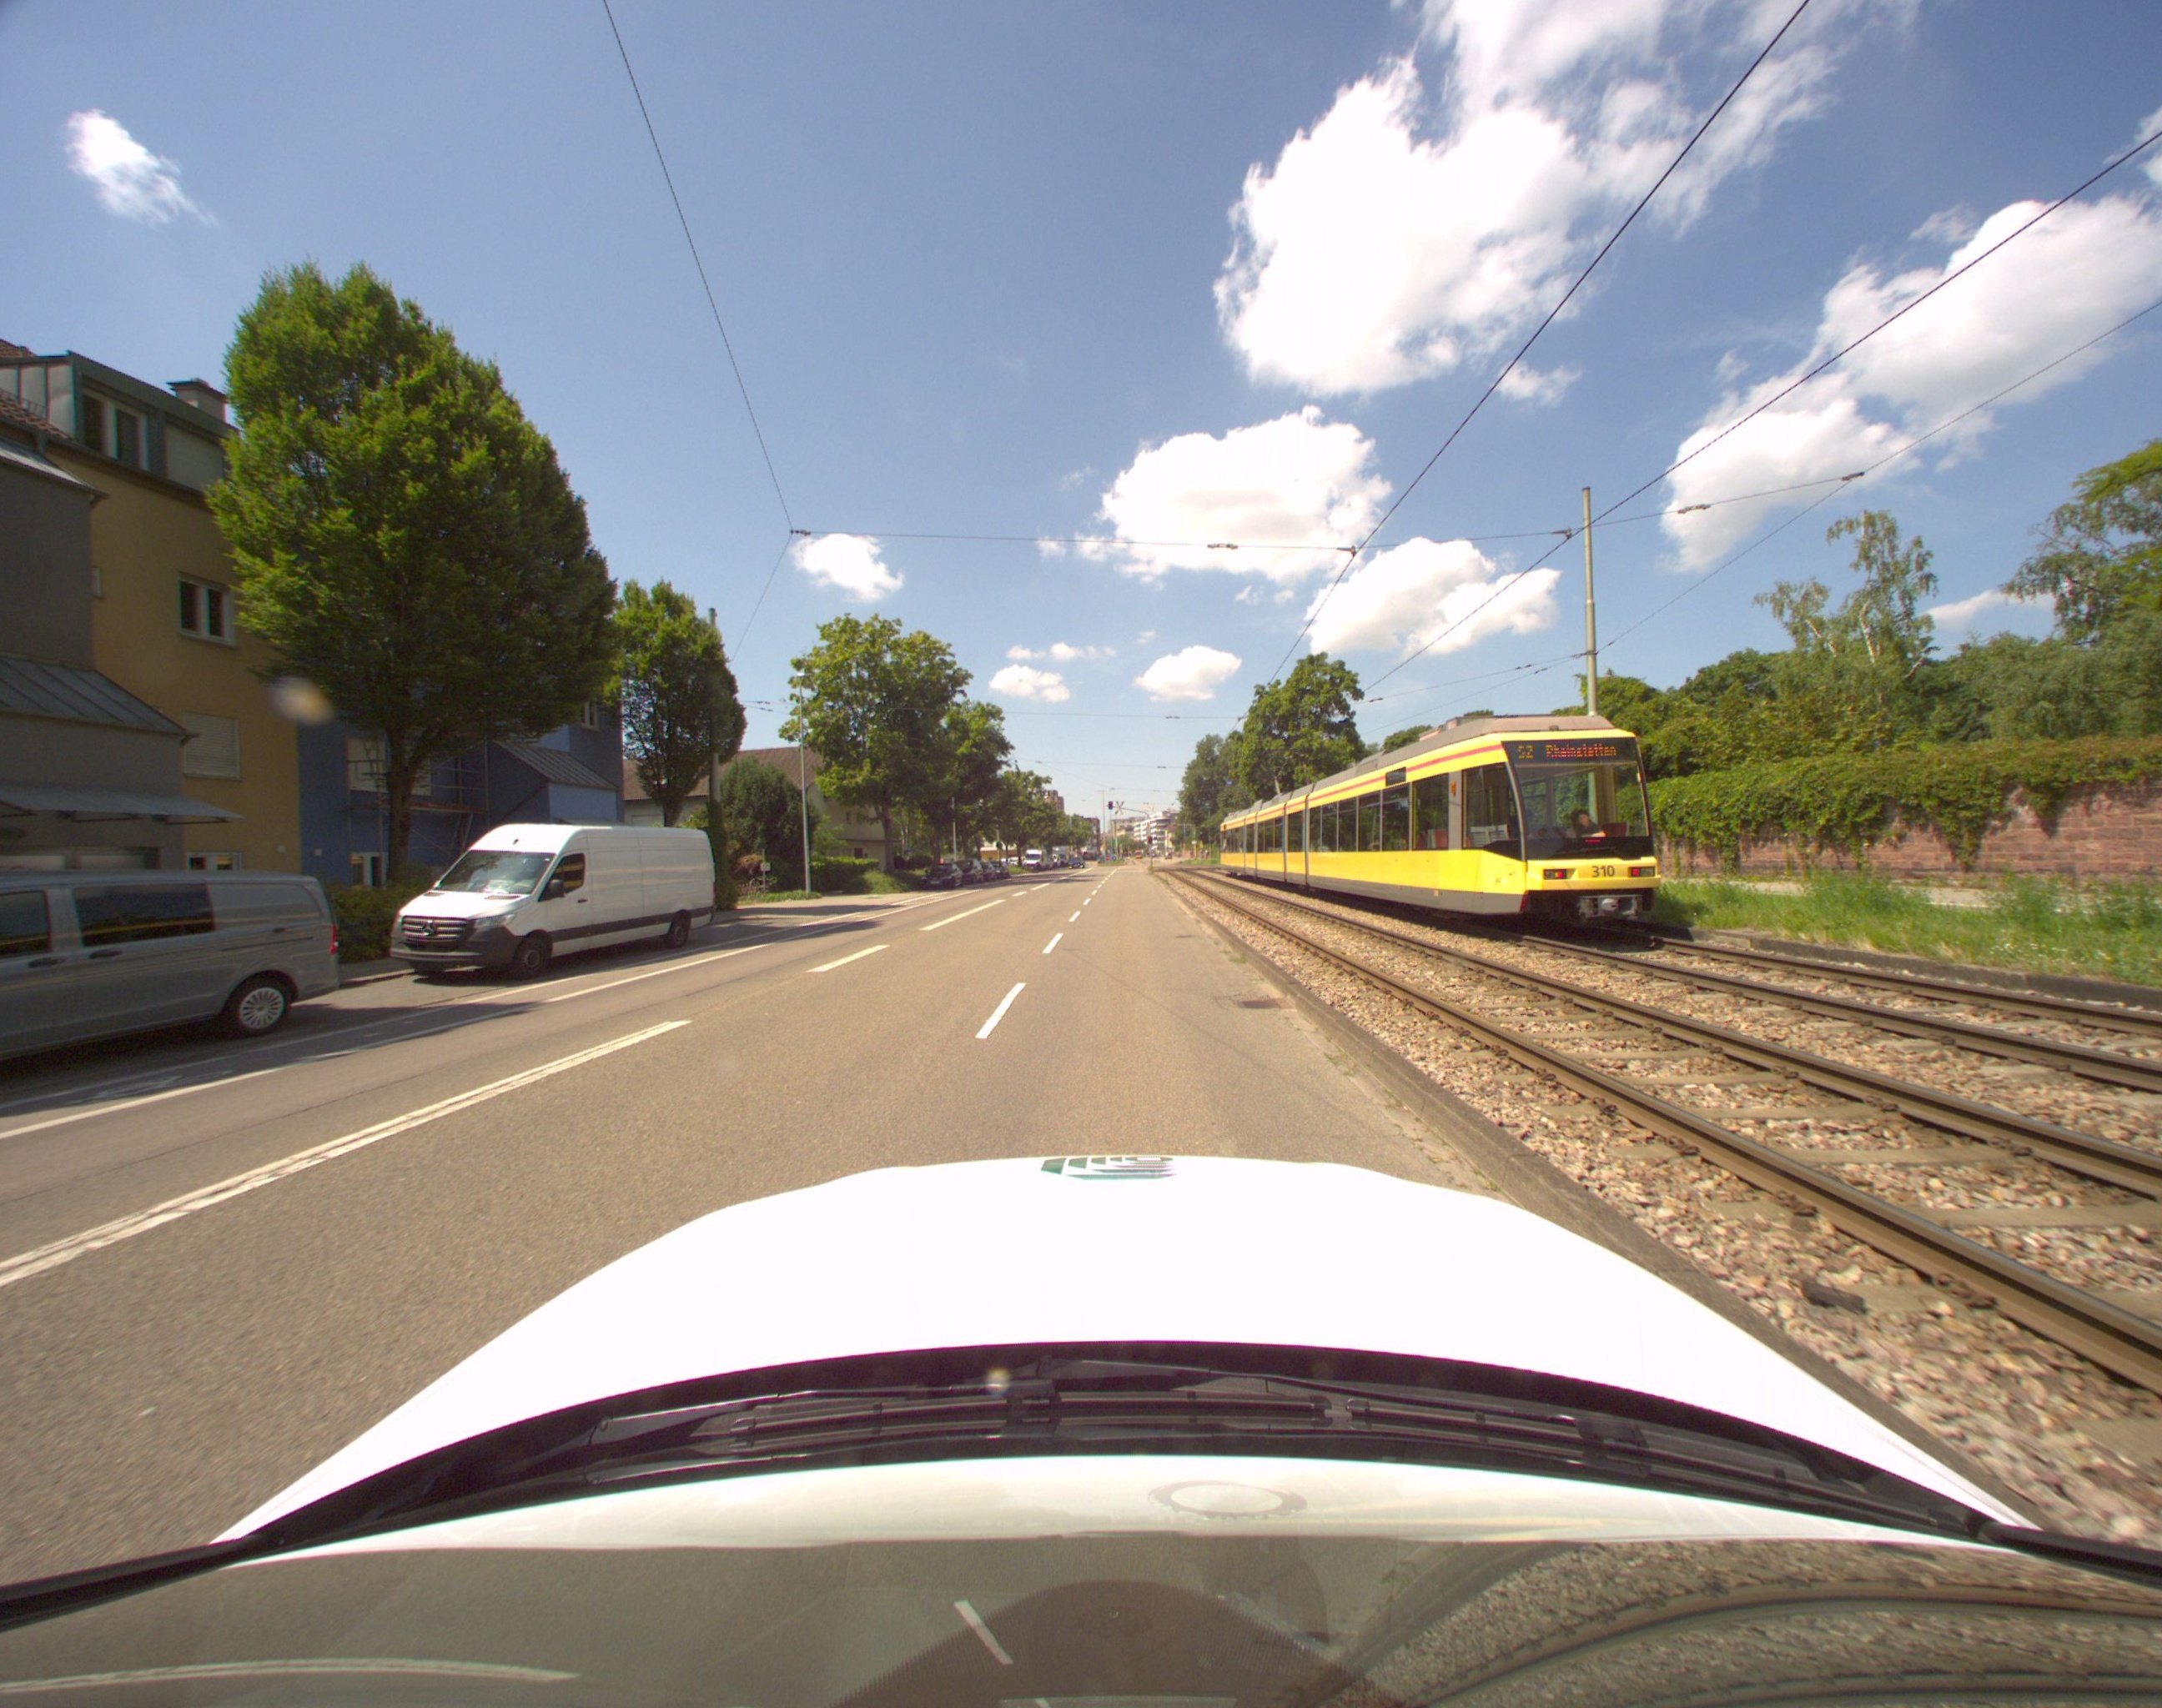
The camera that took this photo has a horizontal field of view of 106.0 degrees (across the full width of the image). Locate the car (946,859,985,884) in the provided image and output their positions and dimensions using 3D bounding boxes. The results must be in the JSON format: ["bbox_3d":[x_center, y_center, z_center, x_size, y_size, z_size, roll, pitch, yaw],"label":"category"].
[{"bbox_3d":[-7.644,1.135,54.349,1.768,1.604,4.640,-1,0,2],"label":"car"}]

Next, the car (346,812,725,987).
[{"bbox_3d":[-10.073,0.691,16.227,2.313,2.651,7.043,2,0,4],"label":"car"}]

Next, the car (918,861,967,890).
[{"bbox_3d":[-7.872,1.199,46.767,1.768,1.455,4.807,-2,0,2],"label":"car"}]

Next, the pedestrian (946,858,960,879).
[{"bbox_3d":[-11.451,1.314,72.879,0.971,1.823,0.795,-2,0,1],"label":"pedestrian"}]

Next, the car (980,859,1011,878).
[{"bbox_3d":[-6.721,1.117,64.567,1.767,1.481,4.051,-1,0,4],"label":"car"}]

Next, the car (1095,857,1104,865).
[{"bbox_3d":[3.876,1.432,167.630,1.671,1.398,4.007,-4,0,2],"label":"car"}]

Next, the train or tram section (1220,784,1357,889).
[{"bbox_3d":[9.100,-0.636,39.140,2.930,3.692,20.308,-1,0,5],"label":"train or tram section"}]

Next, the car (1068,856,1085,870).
[{"bbox_3d":[-0.478,1.047,96.007,1.768,1.460,4.197,-4,0,2],"label":"car"}]

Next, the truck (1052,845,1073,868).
[{"bbox_3d":[-2.748,0.368,122.497,2.146,3.210,7.094,1,0,6],"label":"truck"}]

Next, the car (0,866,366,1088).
[{"bbox_3d":[-10.395,1.148,7.949,1.799,1.895,5.367,-2,0,3],"label":"car"}]

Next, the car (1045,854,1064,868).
[{"bbox_3d":[-3.701,0.939,114.233,2.051,1.898,4.877,-2,0,4],"label":"car"}]

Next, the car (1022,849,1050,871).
[{"bbox_3d":[-5.139,0.674,94.422,2.146,2.487,6.203,-2,0,6],"label":"car"}]

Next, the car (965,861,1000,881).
[{"bbox_3d":[-7.186,1.230,59.853,1.768,1.373,4.699,0,0,2],"label":"car"}]

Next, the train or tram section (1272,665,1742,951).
[{"bbox_3d":[7.725,-0.601,19.876,2.930,3.692,18.407,-1,0,4],"label":"train or tram section"}]
